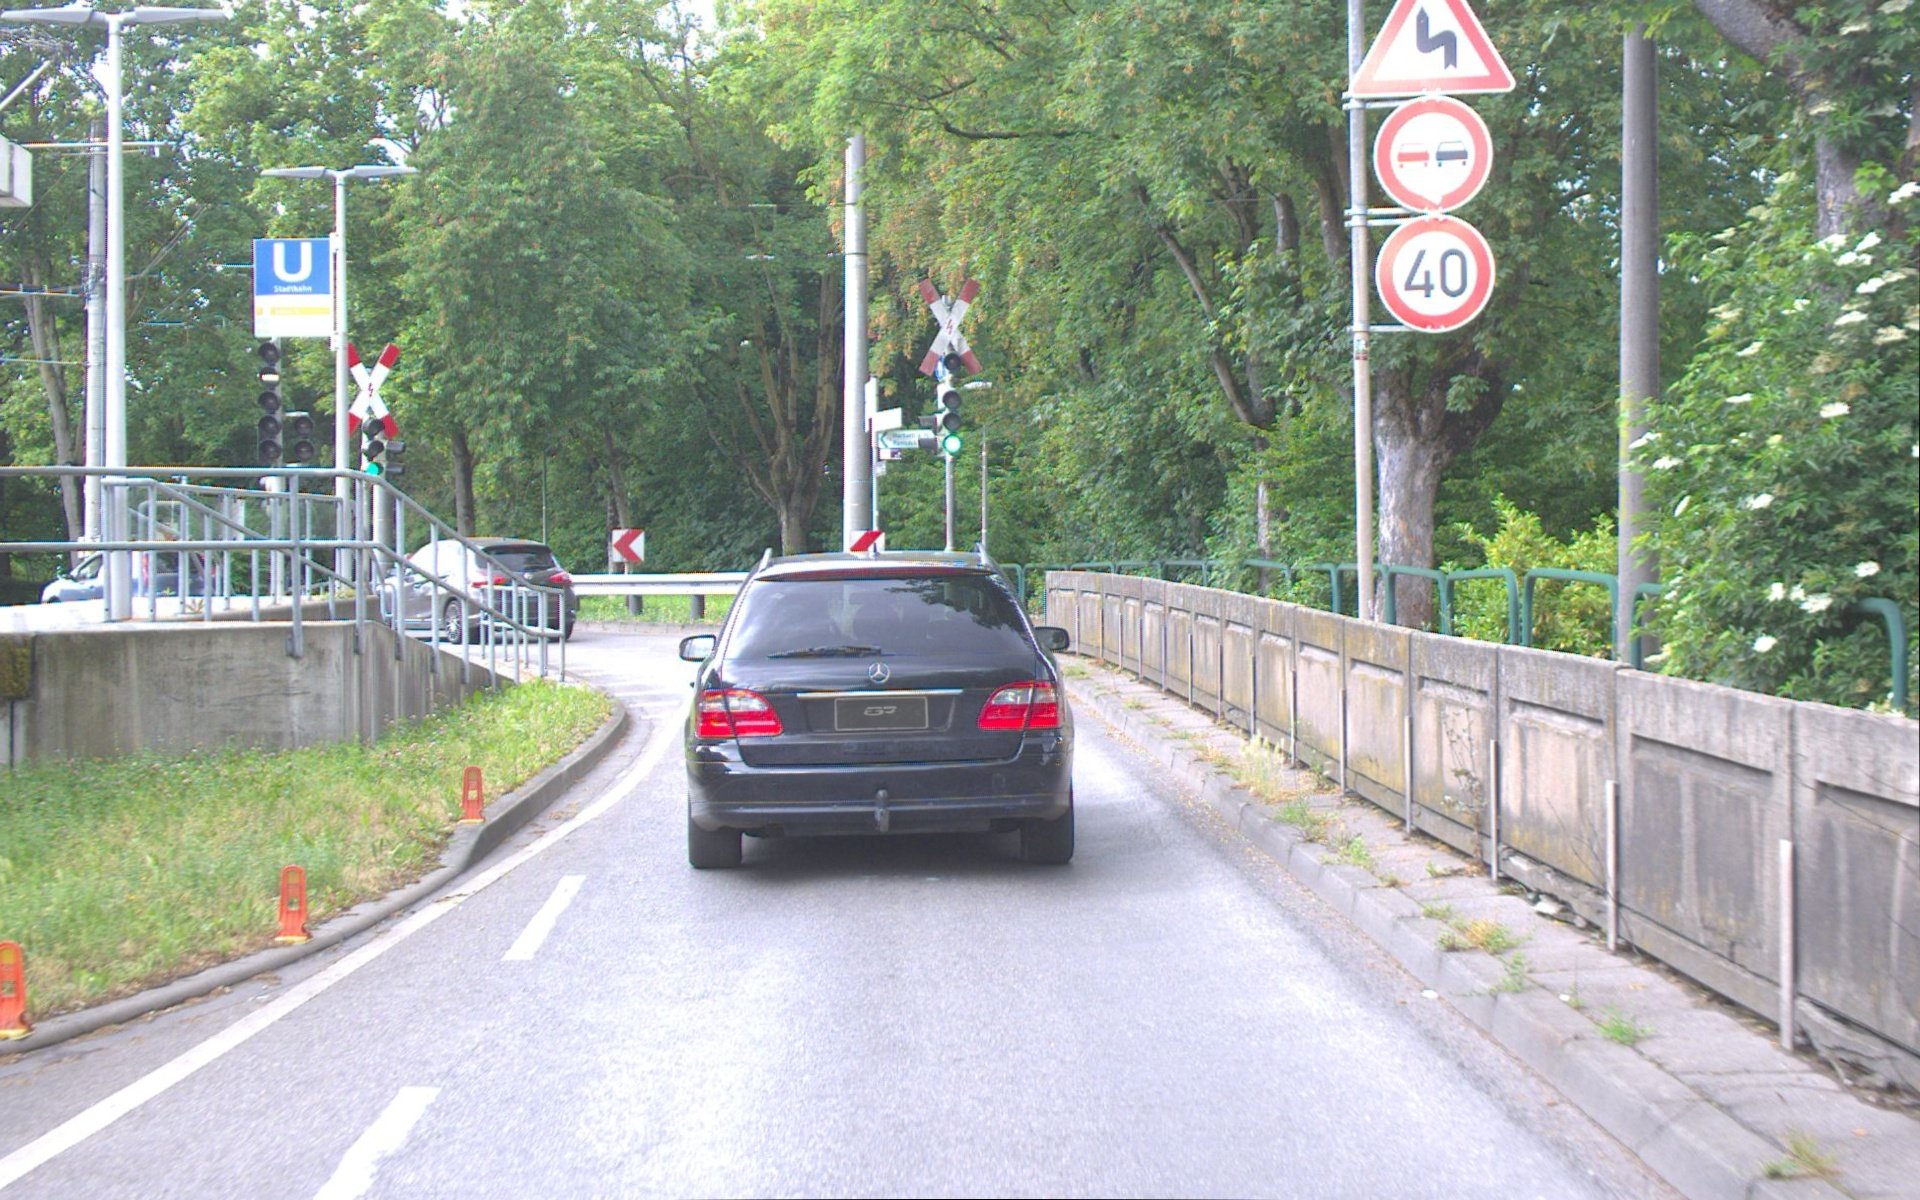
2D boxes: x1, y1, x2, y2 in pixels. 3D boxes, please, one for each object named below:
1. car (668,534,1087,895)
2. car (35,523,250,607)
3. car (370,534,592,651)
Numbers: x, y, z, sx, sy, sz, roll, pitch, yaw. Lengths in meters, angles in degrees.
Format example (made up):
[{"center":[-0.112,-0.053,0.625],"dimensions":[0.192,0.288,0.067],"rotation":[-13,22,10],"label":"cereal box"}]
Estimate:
[{"center":[-0.436,0.455,16.816],"dimensions":[1.781,1.520,4.001],"rotation":[-1,1,-2],"label":"car"},{"center":[-14.107,-0.620,59.232],"dimensions":[1.994,1.394,3.998],"rotation":[-1,1,-40],"label":"car"},{"center":[-7.016,-0.136,50.091],"dimensions":[1.782,1.642,4.000],"rotation":[0,1,-31],"label":"car"}]
